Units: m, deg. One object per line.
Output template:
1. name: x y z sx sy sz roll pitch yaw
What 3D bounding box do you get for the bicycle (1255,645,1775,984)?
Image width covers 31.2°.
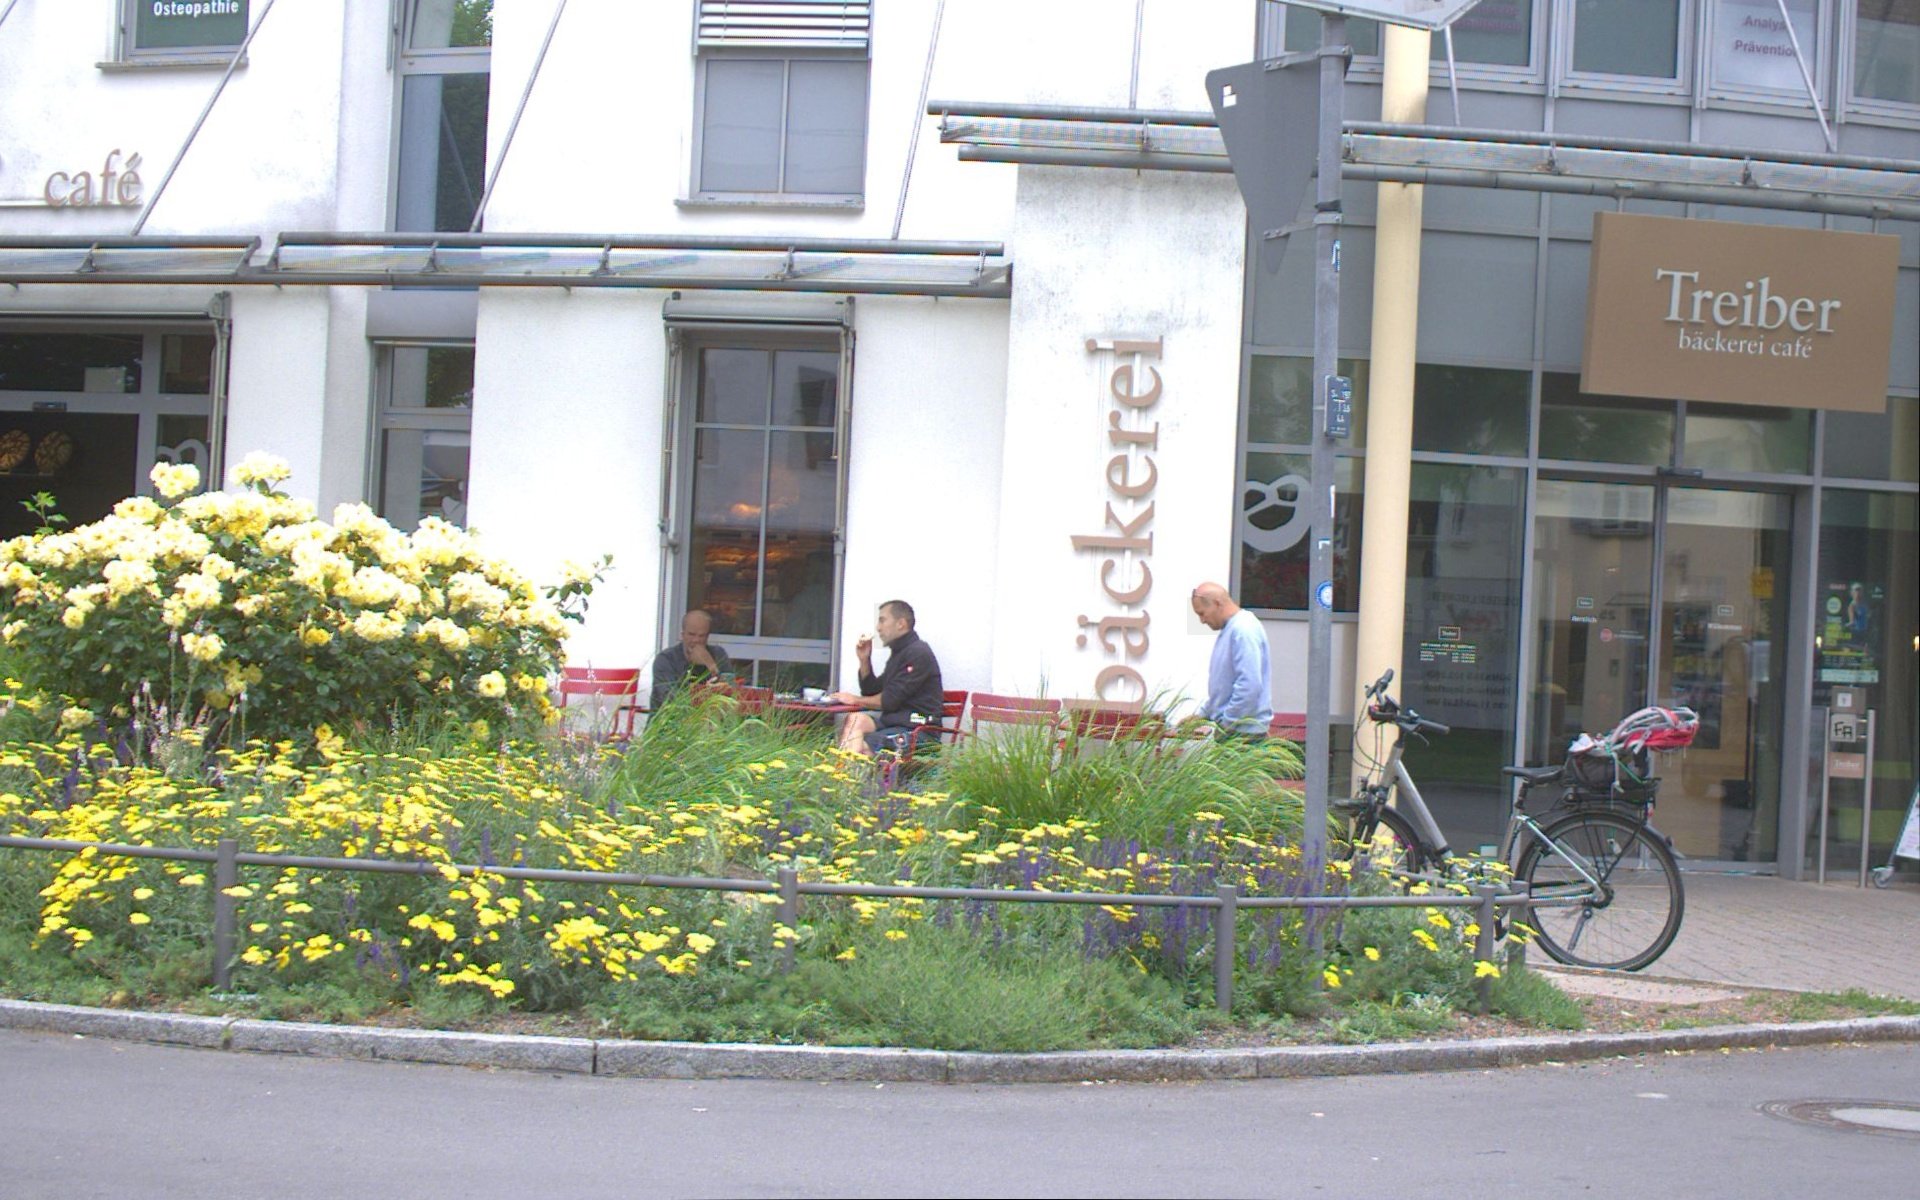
1. bicycle: 2.337 0.869 14.512 1.976 1.235 0.743 4 1 25

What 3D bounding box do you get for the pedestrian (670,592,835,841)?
1. pedestrian: -1.154 0.638 19.237 0.701 1.327 0.684 3 0 12

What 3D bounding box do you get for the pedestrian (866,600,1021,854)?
1. pedestrian: -0.085 0.683 18.904 0.655 1.337 0.695 3 0 12

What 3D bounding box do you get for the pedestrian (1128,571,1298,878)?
1. pedestrian: 1.324 0.630 17.869 0.701 1.520 0.867 3 0 12
